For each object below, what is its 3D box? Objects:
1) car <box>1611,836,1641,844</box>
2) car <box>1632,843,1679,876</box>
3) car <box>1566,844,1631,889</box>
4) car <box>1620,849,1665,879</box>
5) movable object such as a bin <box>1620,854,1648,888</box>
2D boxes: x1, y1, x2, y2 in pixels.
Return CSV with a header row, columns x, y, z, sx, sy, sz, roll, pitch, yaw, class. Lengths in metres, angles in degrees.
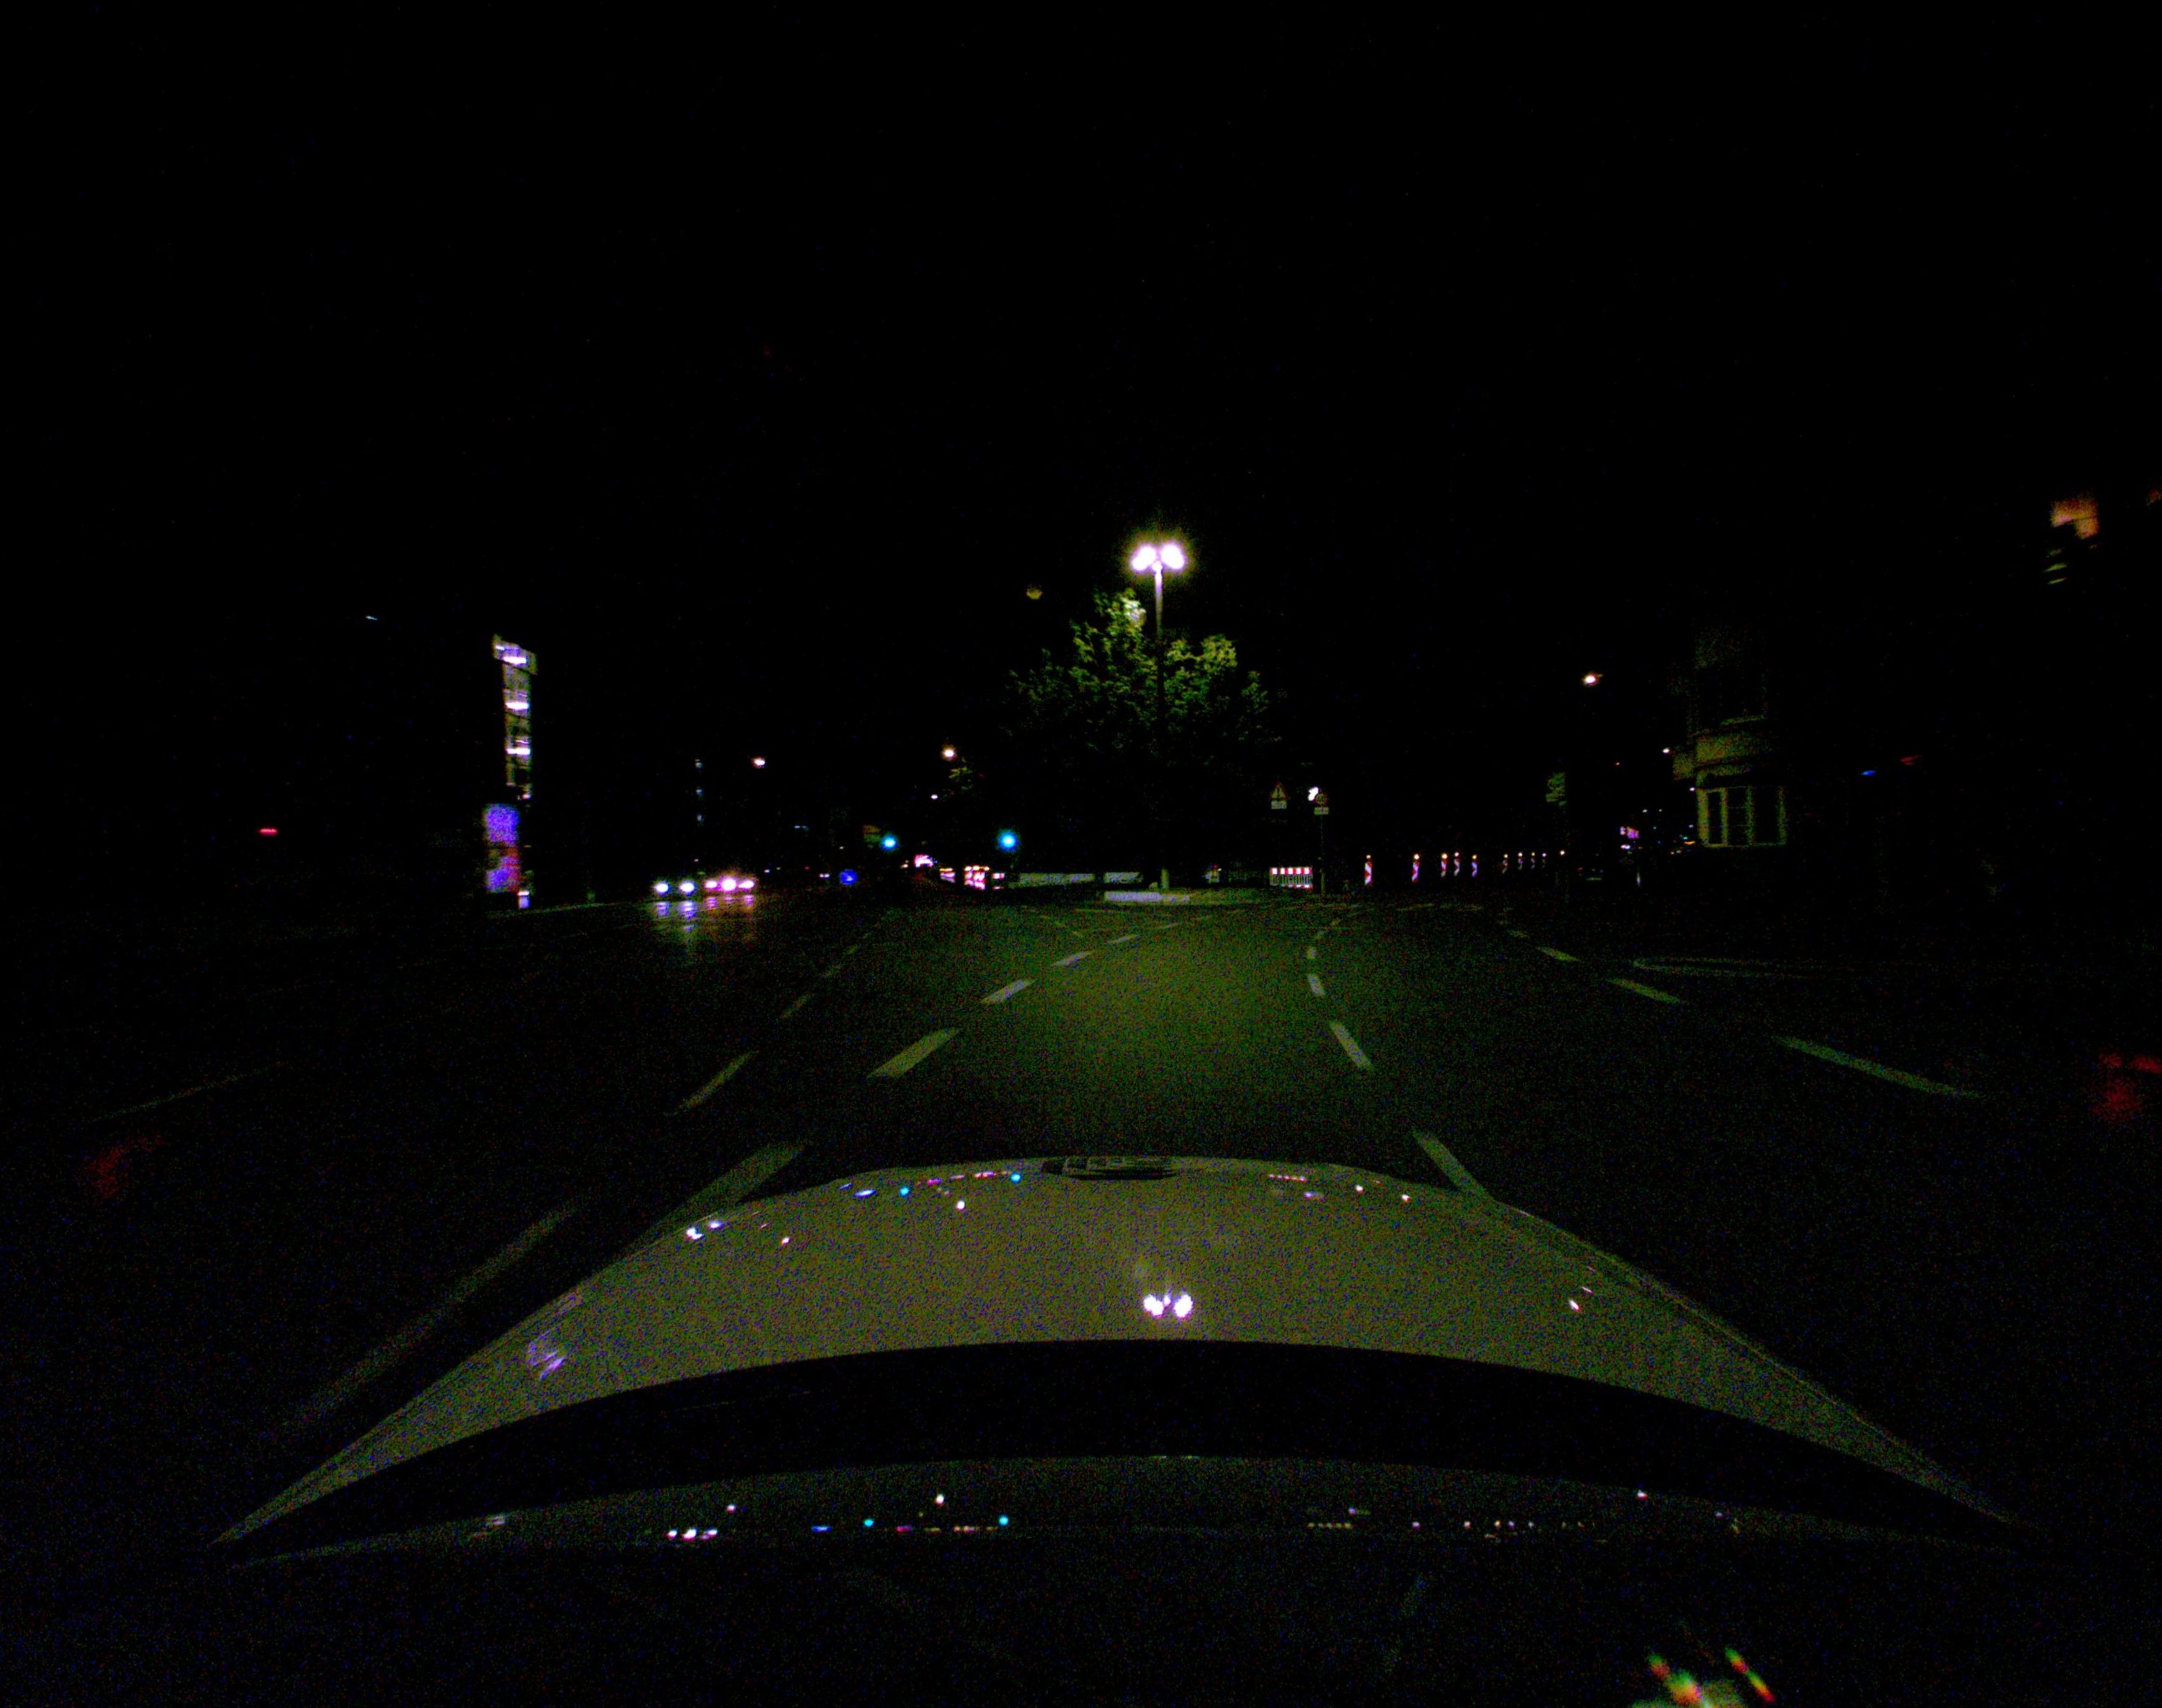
x,y,z,sx,sy,sz,roll,pitch,yaw,class
101.347,-2.615,151.526,4.396,1.449,2.013,-1,-1,39,car
36.918,0.346,52.263,2.052,1.928,5.404,-3,-2,38,car
21.013,0.488,33.015,1.727,1.683,4.285,-3,-2,38,car
31.220,0.558,45.239,1.727,1.566,4.237,-3,-2,38,car
24.355,0.733,35.872,0.928,1.432,1.347,-4,-2,36,movable object such as a bin
